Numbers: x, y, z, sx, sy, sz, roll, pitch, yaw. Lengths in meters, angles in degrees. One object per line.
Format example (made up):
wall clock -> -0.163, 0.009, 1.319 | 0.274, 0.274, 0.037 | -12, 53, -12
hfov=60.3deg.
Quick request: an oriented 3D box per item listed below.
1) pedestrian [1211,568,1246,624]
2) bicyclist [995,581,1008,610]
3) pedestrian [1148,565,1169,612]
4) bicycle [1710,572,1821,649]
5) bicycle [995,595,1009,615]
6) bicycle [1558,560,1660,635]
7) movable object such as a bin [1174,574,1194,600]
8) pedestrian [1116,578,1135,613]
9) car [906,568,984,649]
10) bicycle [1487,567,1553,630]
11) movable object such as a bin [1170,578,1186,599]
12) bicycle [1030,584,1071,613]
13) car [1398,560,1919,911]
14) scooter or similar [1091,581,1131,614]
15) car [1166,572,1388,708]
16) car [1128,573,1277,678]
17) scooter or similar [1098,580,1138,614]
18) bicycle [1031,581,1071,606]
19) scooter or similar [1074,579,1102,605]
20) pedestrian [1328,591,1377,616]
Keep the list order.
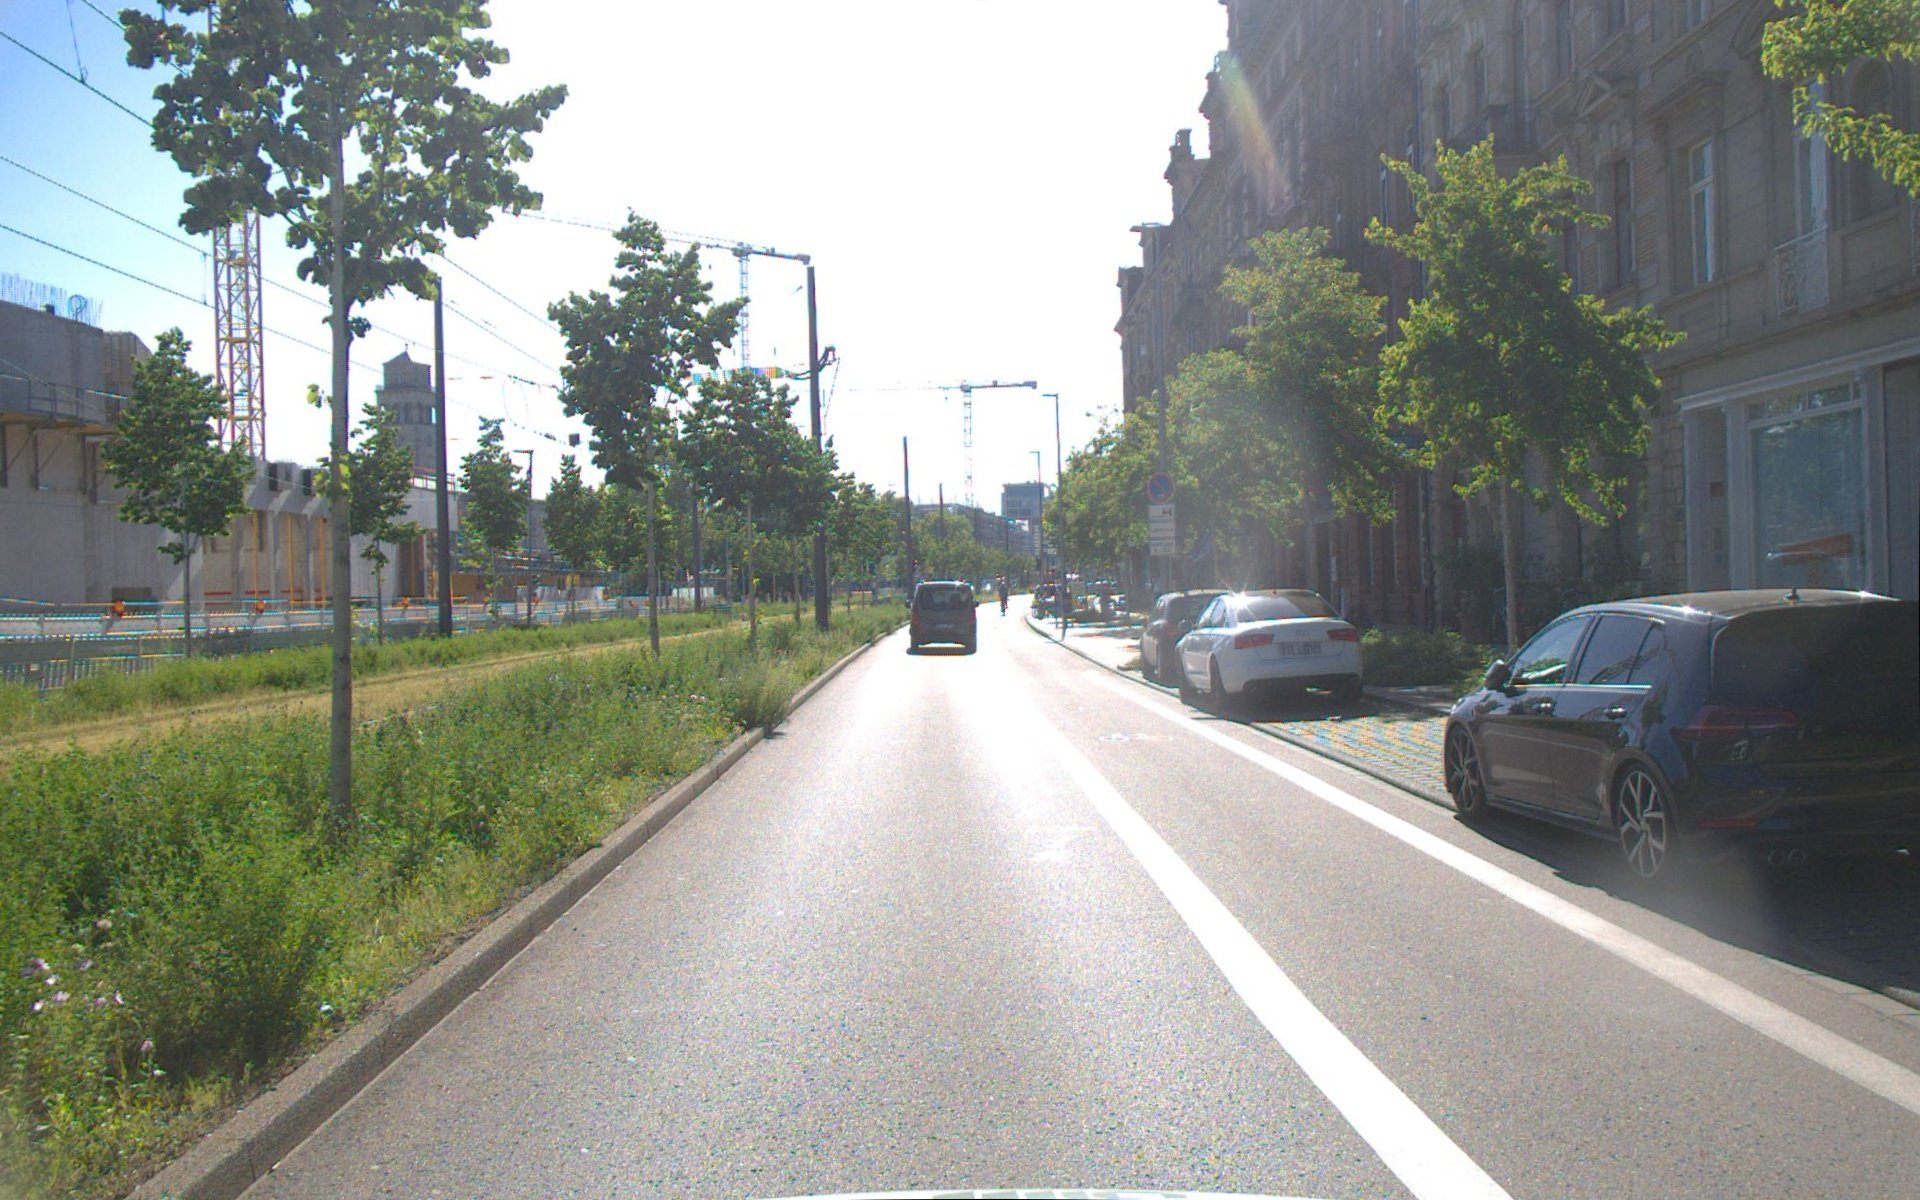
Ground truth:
pedestrian -> 8.717, -0.129, 53.772 | 0.976, 1.761, 0.866 | -1, 0, -1
bicyclist -> 2.342, -0.266, 92.863 | 0.669, 1.612, 0.839 | -1, 1, -1
pedestrian -> 8.850, -0.501, 73.786 | 0.801, 2.049, 1.046 | -1, -2, -1
bicycle -> 10.626, 0.116, 21.889 | 0.438, 0.961, 2.012 | -1, 1, -1
bicycle -> 2.349, 0.264, 92.839 | 0.687, 1.110, 2.277 | -2, 0, -1
bicycle -> 10.329, -0.045, 26.420 | 0.706, 1.109, 2.198 | -3, 1, -1
movable object such as a bin -> 9.721, -0.578, 71.744 | 0.711, 1.117, 0.747 | -2, 1, -5
pedestrian -> 8.659, -0.221, 86.444 | 0.827, 1.772, 0.886 | -3, 0, 0
car -> -0.415, 0.219, 44.422 | 1.953, 2.049, 3.999 | -1, 0, -1
bicycle -> 10.384, -0.038, 30.749 | 0.471, 1.109, 2.056 | -2, 1, -1
movable object such as a bin -> 9.859, -0.513, 74.876 | 0.592, 0.932, 0.650 | -2, 1, -5
bicycle -> 4.377, -0.071, 79.894 | 1.843, 1.255, 0.499 | -4, 0, -7
car -> 4.209, 0.608, 9.815 | 1.731, 1.502, 4.445 | -4, 0, -3
scooter or similar -> 6.138, -0.112, 67.097 | 1.447, 1.237, 0.600 | -4, 2, -11
car -> 4.149, 0.461, 22.521 | 1.912, 1.521, 5.104 | -4, 1, -1
car -> 4.193, 0.419, 29.258 | 1.846, 1.596, 4.219 | -4, 0, -1
scooter or similar -> 6.333, -0.113, 66.334 | 1.445, 1.237, 0.601 | -4, 2, -5
bicycle -> 4.470, -0.309, 81.430 | 1.790, 1.097, 0.664 | -5, 0, -7
scooter or similar -> 5.951, -0.385, 77.066 | 1.194, 1.125, 0.783 | -3, 1, 2
pedestrian -> 10.243, 0.082, 43.228 | 0.757, 0.562, 2.007 | -2, 1, -1
